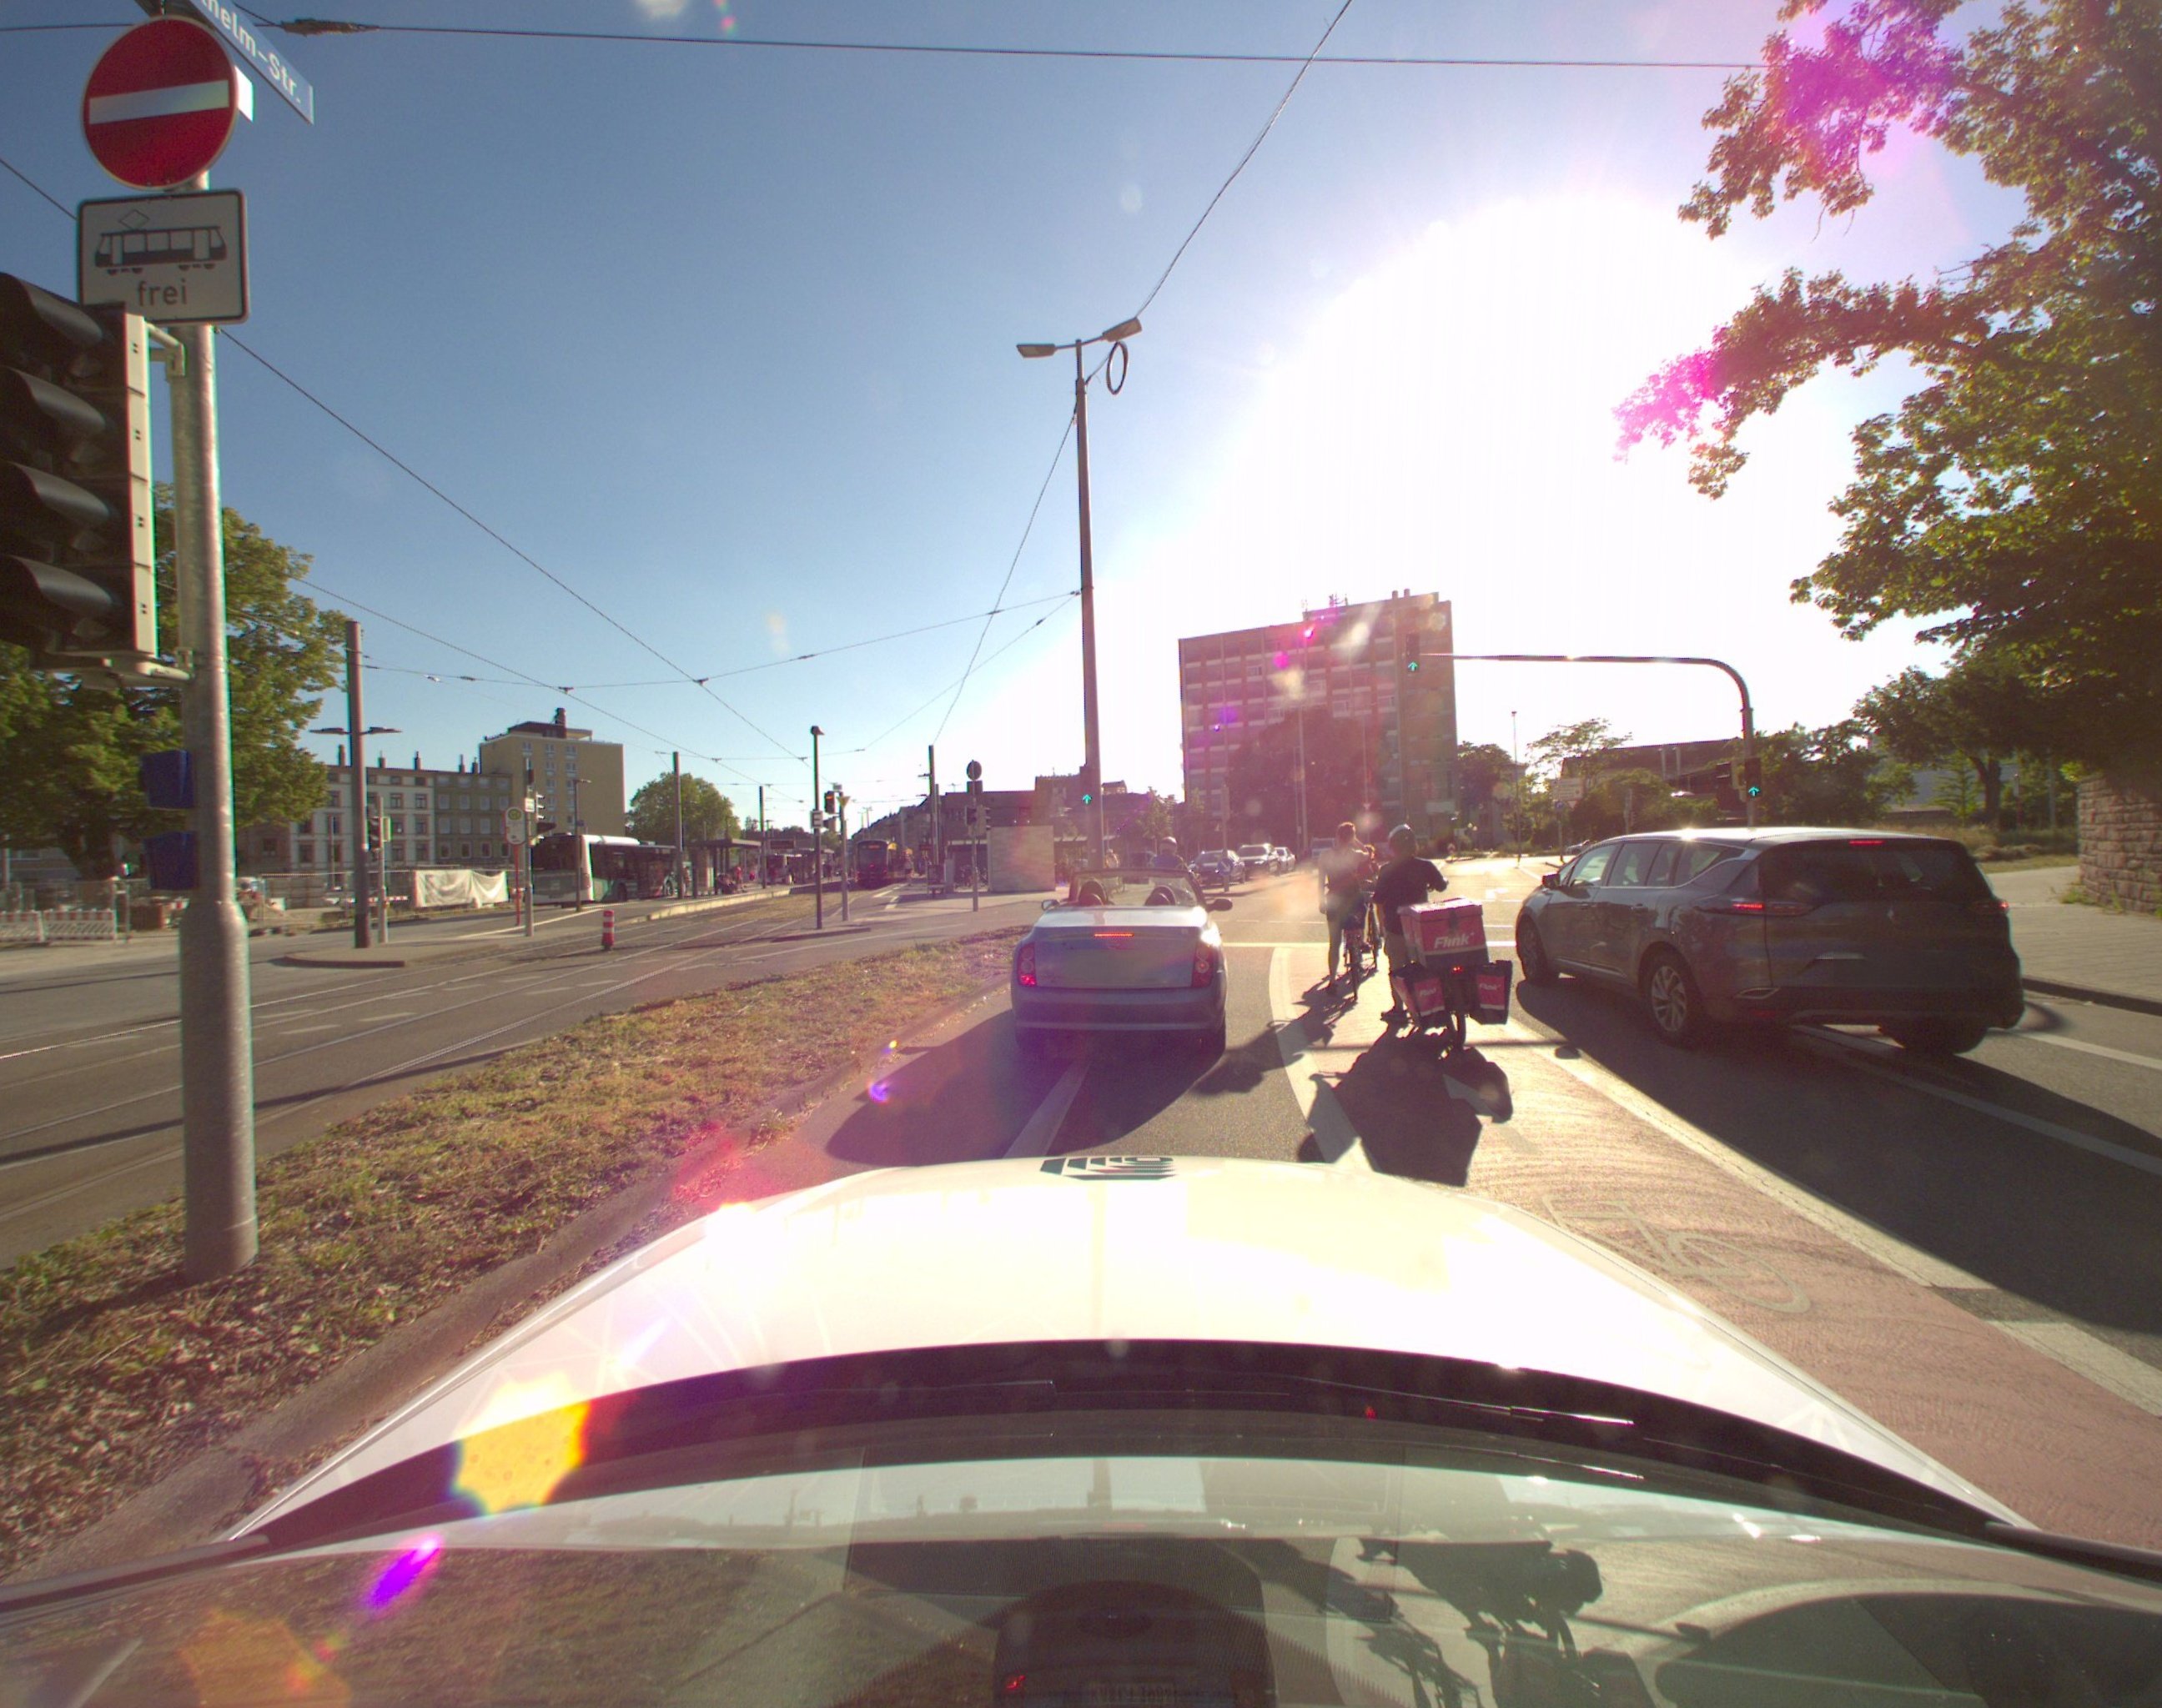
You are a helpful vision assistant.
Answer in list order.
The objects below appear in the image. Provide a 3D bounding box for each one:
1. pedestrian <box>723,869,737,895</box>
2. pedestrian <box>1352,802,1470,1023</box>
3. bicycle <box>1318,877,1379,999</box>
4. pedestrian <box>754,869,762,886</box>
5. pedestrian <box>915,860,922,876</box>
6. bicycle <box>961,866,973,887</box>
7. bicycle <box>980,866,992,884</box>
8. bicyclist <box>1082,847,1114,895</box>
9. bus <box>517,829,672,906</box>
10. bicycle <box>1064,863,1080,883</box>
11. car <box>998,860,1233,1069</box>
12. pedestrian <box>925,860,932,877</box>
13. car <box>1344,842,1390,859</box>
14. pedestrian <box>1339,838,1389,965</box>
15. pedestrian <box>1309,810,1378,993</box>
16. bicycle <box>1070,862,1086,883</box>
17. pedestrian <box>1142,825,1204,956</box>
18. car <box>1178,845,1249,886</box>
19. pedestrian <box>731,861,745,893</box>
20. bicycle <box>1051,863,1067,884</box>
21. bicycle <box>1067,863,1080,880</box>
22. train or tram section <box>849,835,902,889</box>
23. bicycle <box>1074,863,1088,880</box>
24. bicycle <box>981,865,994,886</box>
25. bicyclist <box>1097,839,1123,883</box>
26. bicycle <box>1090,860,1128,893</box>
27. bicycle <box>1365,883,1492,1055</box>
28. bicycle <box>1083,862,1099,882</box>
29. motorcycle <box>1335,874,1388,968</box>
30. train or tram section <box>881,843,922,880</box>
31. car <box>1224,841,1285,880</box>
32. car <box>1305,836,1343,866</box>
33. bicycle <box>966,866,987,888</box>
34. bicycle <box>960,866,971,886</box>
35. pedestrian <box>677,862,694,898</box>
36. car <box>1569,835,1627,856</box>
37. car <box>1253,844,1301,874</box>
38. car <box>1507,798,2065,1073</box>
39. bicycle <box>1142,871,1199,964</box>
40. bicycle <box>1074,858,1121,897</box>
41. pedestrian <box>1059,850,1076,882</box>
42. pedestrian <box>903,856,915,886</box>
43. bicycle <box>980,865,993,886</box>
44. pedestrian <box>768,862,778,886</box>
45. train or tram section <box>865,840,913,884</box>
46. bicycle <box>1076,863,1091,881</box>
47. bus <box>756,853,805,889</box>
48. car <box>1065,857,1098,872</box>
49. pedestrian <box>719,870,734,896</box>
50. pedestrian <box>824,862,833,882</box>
[{"bbox_3d":[-18.733,1.473,43.461,0.571,1.346,0.636,-2,-1,-15],"label":"pedestrian"},{"bbox_3d":[2.977,0.502,7.446,0.801,1.869,0.959,-1,-1,10],"label":"pedestrian"},{"bbox_3d":[2.933,0.856,9.020,0.559,1.151,1.958,-1,-1,17],"label":"bicycle"},{"bbox_3d":[-34.443,2.543,86.829,0.637,1.749,0.571,-2,-1,-5],"label":"pedestrian"},{"bbox_3d":[-18.074,1.528,90.533,0.604,1.749,0.830,-2,-1,-6],"label":"pedestrian"},{"bbox_3d":[-6.213,1.230,44.357,0.607,1.115,1.890,0,-1,-10],"label":"bicycle"},{"bbox_3d":[-5.902,1.285,50.623,0.607,1.115,1.890,0,-1,-10],"label":"bicycle"},{"bbox_3d":[0.602,0.595,28.847,0.702,1.657,0.906,-5,-2,24],"label":"bicyclist"},{"bbox_3d":[-22.371,0.571,38.220,2.652,3.135,9.617,0,-1,-8],"label":"bus"},{"bbox_3d":[-0.543,1.091,47.351,0.607,1.115,1.890,0,-1,-10],"label":"bicycle"},{"bbox_3d":[0.548,0.781,7.795,1.650,1.441,4.164,-1,-1,9],"label":"car"},{"bbox_3d":[-15.787,1.462,84.368,0.639,1.749,0.732,-2,-1,-17],"label":"pedestrian"},{"bbox_3d":[30.964,-0.373,88.225,4.337,1.530,1.817,-4,-1,35],"label":"car"},{"bbox_3d":[3.770,0.605,10.844,0.583,1.598,1.030,-1,-1,19],"label":"pedestrian"},{"bbox_3d":[2.836,0.489,8.837,0.654,1.869,0.876,-1,-1,17],"label":"pedestrian"},{"bbox_3d":[-0.180,1.014,45.410,0.607,1.115,1.890,0,-1,-10],"label":"bicycle"},{"bbox_3d":[1.380,0.526,12.114,0.828,1.869,0.923,-1,-1,10],"label":"pedestrian"},{"bbox_3d":[5.546,0.468,33.641,1.720,1.574,3.948,-1,-1,28],"label":"car"},{"bbox_3d":[-19.112,1.274,45.337,0.571,1.749,0.636,-2,-1,-15],"label":"pedestrian"},{"bbox_3d":[-1.254,1.080,45.294,0.607,1.115,1.890,0,-1,-10],"label":"bicycle"},{"bbox_3d":[-0.559,1.203,56.910,0.607,1.115,1.890,0,-1,-10],"label":"bicycle"},{"bbox_3d":[-15.262,0.580,61.214,2.881,3.597,12.158,0,-1,-10],"label":"train or tram section"},{"bbox_3d":[-0.032,1.131,53.389,0.607,1.115,1.890,0,-1,-10],"label":"bicycle"},{"bbox_3d":[-5.375,1.223,46.733,0.607,1.115,1.890,0,-1,-10],"label":"bicycle"},{"bbox_3d":[1.110,0.255,31.483,0.702,1.657,0.747,-3,-1,24],"label":"bicyclist"},{"bbox_3d":[1.105,0.843,31.423,0.668,1.180,2.195,-3,0,24],"label":"bicycle"},{"bbox_3d":[2.934,0.872,7.093,0.550,1.171,2.380,-1,-1,12],"label":"bicycle"},{"bbox_3d":[0.556,1.054,47.713,0.607,1.115,1.890,0,-1,-10],"label":"bicycle"},{"bbox_3d":[3.823,0.843,11.092,0.608,1.097,2.371,-1,-1,19],"label":"motorcycle"},{"bbox_3d":[-18.602,0.811,85.227,3.037,3.597,12.021,0,0,-7],"label":"train or tram section"},{"bbox_3d":[8.484,0.261,39.581,1.745,1.706,4.557,-4,-1,26],"label":"car"},{"bbox_3d":[17.419,-0.238,58.276,1.891,1.945,4.733,-4,-1,24],"label":"car"},{"bbox_3d":[-5.467,1.202,42.734,0.603,1.115,1.901,0,-1,8],"label":"bicycle"},{"bbox_3d":[-6.561,1.249,46.292,0.606,1.115,1.891,0,-1,-8],"label":"bicycle"},{"bbox_3d":[-19.654,1.272,40.441,0.536,1.749,0.559,-2,-1,-4],"label":"pedestrian"},{"bbox_3d":[44.176,-0.710,69.649,3.950,1.530,1.816,-4,-1,26],"label":"car"},{"bbox_3d":[11.165,0.250,46.215,1.678,1.560,4.004,-3,0,28],"label":"car"},{"bbox_3d":[5.540,0.522,7.319,1.820,1.689,4.381,-1,-1,10],"label":"car"},{"bbox_3d":[1.361,0.865,12.004,0.604,1.191,2.422,-1,-1,12],"label":"bicycle"},{"bbox_3d":[0.611,0.812,28.825,0.668,1.250,2.471,-5,-1,24],"label":"bicycle"},{"bbox_3d":[-0.775,0.689,46.930,0.901,1.869,0.684,0,-1,-11],"label":"pedestrian"},{"bbox_3d":[-10.209,0.980,48.319,0.639,1.749,0.569,-2,-1,-17],"label":"pedestrian"},{"bbox_3d":[-5.178,1.192,44.664,0.607,1.115,1.890,0,-1,-10],"label":"bicycle"},{"bbox_3d":[-23.075,1.494,60.978,0.641,1.749,0.567,-2,-1,-25],"label":"pedestrian"},{"bbox_3d":[-17.067,0.703,73.256,3.010,3.597,12.165,0,0,-8],"label":"train or tram section"},{"bbox_3d":[0.129,1.136,51.412,0.607,1.115,1.890,0,-1,-10],"label":"bicycle"},{"bbox_3d":[-29.670,1.585,80.946,2.723,3.274,13.409,0,-1,-12],"label":"bus"},{"bbox_3d":[0.030,1.171,88.655,1.653,1.560,3.559,-2,0,-37],"label":"car"},{"bbox_3d":[-18.604,1.519,42.774,0.617,1.340,0.438,-2,-1,-15],"label":"pedestrian"},{"bbox_3d":[-22.077,1.571,71.269,0.641,1.749,0.567,-2,-1,-25],"label":"pedestrian"}]
